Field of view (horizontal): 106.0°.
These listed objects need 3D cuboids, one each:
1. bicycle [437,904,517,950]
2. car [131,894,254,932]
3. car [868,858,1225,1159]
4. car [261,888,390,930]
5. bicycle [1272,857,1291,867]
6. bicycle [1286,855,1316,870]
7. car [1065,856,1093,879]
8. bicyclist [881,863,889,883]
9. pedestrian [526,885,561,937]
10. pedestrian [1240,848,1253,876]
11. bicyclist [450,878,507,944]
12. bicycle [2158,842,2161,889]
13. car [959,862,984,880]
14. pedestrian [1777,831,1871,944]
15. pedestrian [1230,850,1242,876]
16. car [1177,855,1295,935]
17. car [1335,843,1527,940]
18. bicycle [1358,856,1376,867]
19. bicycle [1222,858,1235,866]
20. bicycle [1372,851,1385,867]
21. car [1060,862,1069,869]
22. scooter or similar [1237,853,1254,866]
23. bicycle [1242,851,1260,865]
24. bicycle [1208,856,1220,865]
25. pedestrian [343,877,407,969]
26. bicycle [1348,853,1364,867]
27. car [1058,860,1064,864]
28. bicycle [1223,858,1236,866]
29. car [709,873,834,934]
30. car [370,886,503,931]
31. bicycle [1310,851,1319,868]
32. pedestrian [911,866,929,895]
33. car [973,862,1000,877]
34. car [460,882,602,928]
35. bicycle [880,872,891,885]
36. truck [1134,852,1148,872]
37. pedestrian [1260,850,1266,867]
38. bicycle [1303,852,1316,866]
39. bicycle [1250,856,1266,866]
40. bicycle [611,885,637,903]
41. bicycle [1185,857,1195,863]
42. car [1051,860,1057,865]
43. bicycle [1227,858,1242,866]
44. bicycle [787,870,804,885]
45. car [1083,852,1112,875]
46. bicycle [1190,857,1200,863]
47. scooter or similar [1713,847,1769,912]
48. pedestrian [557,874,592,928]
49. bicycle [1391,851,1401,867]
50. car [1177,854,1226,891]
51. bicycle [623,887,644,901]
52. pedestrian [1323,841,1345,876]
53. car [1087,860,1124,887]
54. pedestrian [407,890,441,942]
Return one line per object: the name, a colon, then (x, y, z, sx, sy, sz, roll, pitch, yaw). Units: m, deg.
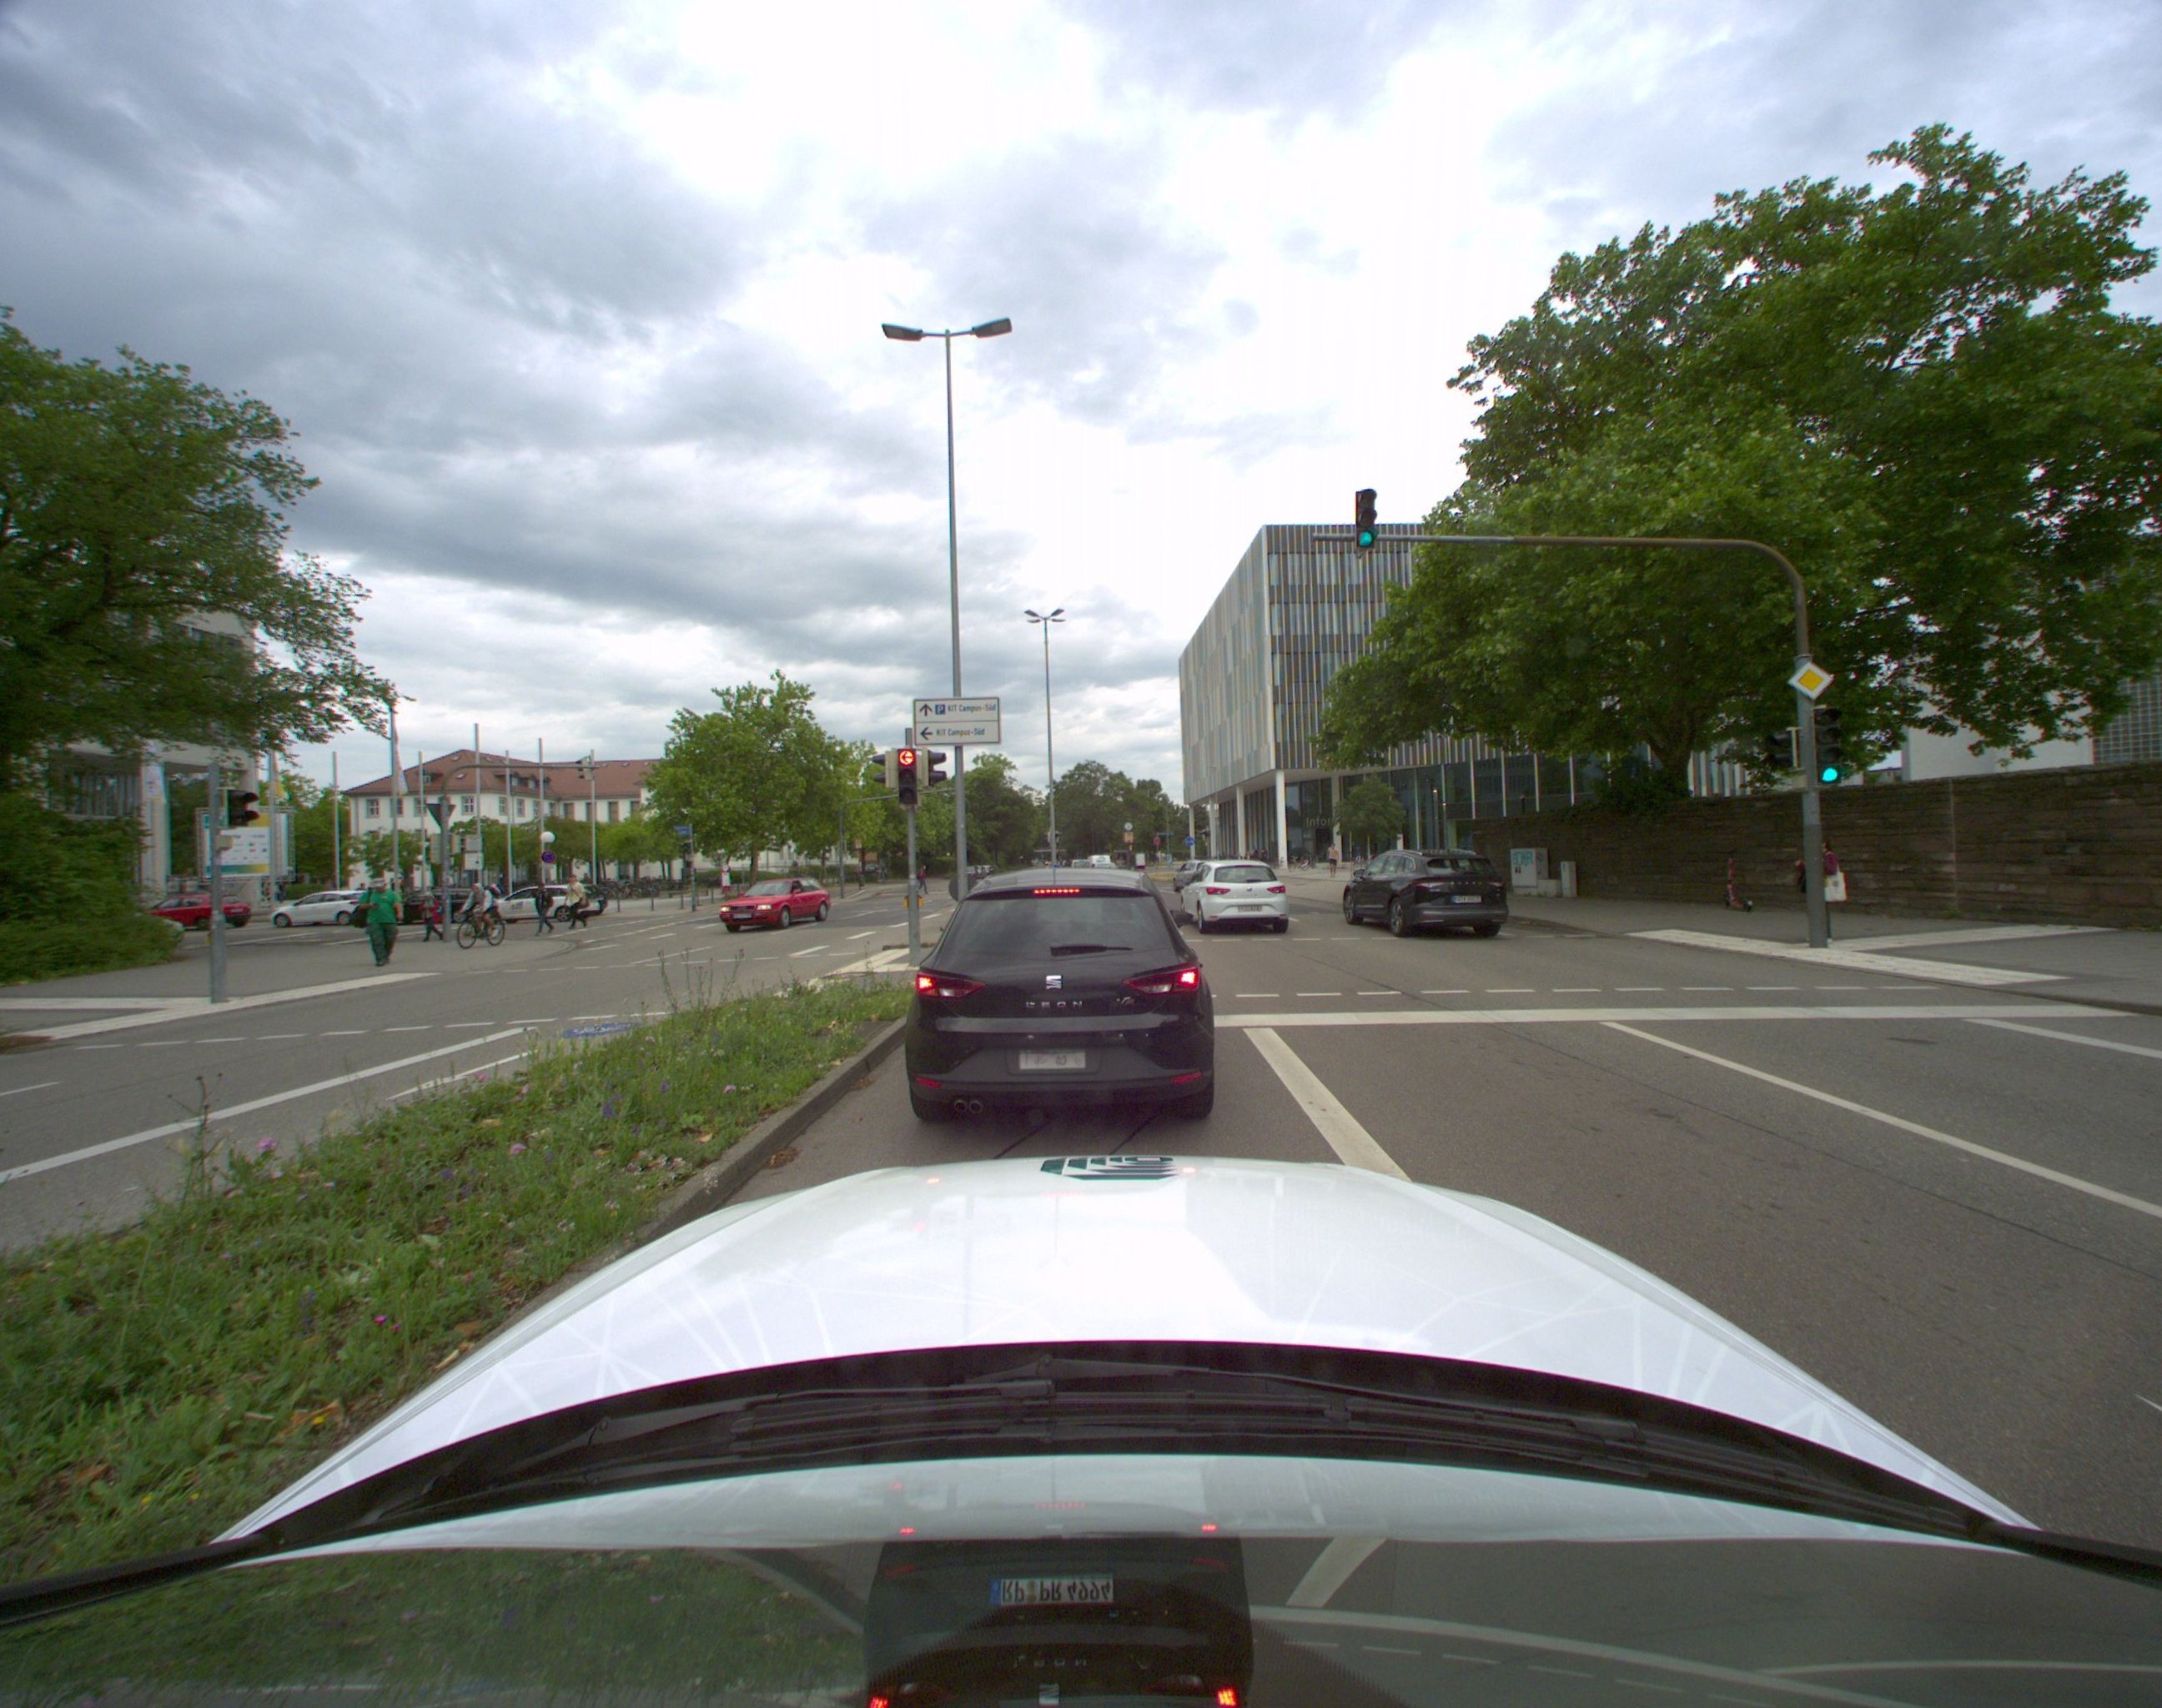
bicycle: (-15.422, 1.850, 20.845, 0.662, 1.062, 1.624, -1, -1, 10)
car: (-38.138, 2.526, 35.025, 3.341, 1.479, 1.559, -1, 0, -5)
car: (-0.042, 0.771, 5.888, 1.745, 1.432, 3.773, -1, 0, 4)
car: (-32.938, 2.379, 35.574, 3.868, 1.539, 1.684, -2, 2, -2)
bicycle: (17.068, 0.716, 69.433, 1.475, 0.748, 0.566, -4, 0, -2)
bicycle: (15.100, 0.611, 55.990, 1.892, 0.898, 0.693, -4, 0, -20)
car: (-0.198, 1.010, 60.776, 1.727, 1.603, 4.097, -1, 0, -6)
bicyclist: (-16.294, 1.545, 67.716, 0.489, 1.624, 0.588, 0, 1, 1)
pedestrian: (-16.771, 1.768, 25.417, 0.796, 1.558, 0.691, 1, -5, -42)
pedestrian: (10.723, 0.499, 52.885, 0.684, 1.781, 0.677, -2, 0, 1)
bicyclist: (-15.423, 1.442, 20.878, 0.662, 1.635, 0.964, -1, -1, 10)
bicycle: (13.544, 0.408, 8.918, 0.801, 1.174, 1.952, -5, 0, -3)
car: (-11.677, 1.821, 86.732, 1.899, 1.717, 4.002, -3, 0, 2)
pedestrian: (10.967, 0.478, 12.038, 0.657, 1.561, 0.636, -6, 0, 1)
pedestrian: (10.026, 0.587, 52.643, 0.684, 1.640, 0.633, -1, 0, 1)
car: (3.150, 0.781, 17.270, 1.775, 1.463, 3.871, -1, 0, 1)
car: (6.653, 0.647, 16.089, 1.901, 1.624, 4.491, -1, 0, 1)
bicycle: (21.182, 0.531, 60.298, 1.535, 0.716, 0.513, -4, 0, -42)
bicycle: (15.701, 0.836, 86.683, 1.232, 0.705, 0.490, -3, 0, 10)
bicycle: (21.653, 0.375, 59.244, 0.802, 1.056, 1.959, -3, 0, 21)
car: (-3.469, 2.470, 172.530, 1.894, 1.354, 3.880, -3, 0, -2)
scooter or similar: (15.786, 0.539, 78.105, 1.682, 1.106, 0.494, -4, 0, -30)
bicycle: (16.171, 0.401, 77.518, 1.785, 1.211, 0.564, -4, 0, -32)
bicycle: (14.965, 0.739, 91.675, 1.379, 0.942, 0.489, -3, 0, 8)
pedestrian: (-14.236, 1.355, 16.431, 0.948, 1.759, 0.865, 0, -2, -42)
bicycle: (20.604, 0.459, 60.982, 0.688, 0.946, 1.997, -3, 0, 32)
car: (-6.159, 2.394, 249.996, 1.501, 1.193, 3.161, -3, 0, -2)
bicycle: (15.624, 0.848, 85.792, 1.366, 0.705, 0.490, -3, 0, 10)
car: (-8.944, 1.381, 23.955, 1.706, 1.418, 4.299, -3, 0, 4)
car: (-27.547, 2.301, 34.954, 4.059, 1.452, 1.615, -3, 5, -16)
bicycle: (18.398, 0.397, 64.115, 0.522, 1.253, 1.674, -3, 0, 20)
pedestrian: (-9.136, 1.503, 46.313, 0.873, 1.586, 0.542, -3, 0, -5)
car: (-11.232, 1.826, 96.601, 1.746, 1.587, 4.016, -3, 0, 15)
car: (-21.598, 1.988, 32.121, 4.212, 1.431, 1.705, -4, 0, -9)
bicycle: (-16.290, 2.064, 67.800, 0.486, 1.005, 1.590, -1, 1, 2)
truck: (7.150, 0.904, 96.937, 1.313, 2.243, 3.403, -3, 0, 2)
pedestrian: (15.310, 0.355, 68.520, 0.469, 1.361, 0.447, -3, 0, 12)
bicycle: (18.786, 0.430, 66.901, 0.614, 1.045, 1.716, -3, 0, 28)
bicycle: (16.460, 0.636, 75.801, 1.445, 0.857, 0.362, -4, 0, -25)
bicycle: (-31.089, 2.715, 55.431, 1.405, 1.052, 0.585, -4, 0, -19)
bicycle: (14.541, 0.791, 108.813, 1.262, 0.848, 0.479, 1, -2, -21)
car: (-8.208, 2.504, 246.410, 1.692, 1.503, 4.003, -3, 0, -5)
bicycle: (15.829, 0.812, 83.989, 1.368, 0.705, 0.416, -3, 0, 4)
bicycle: (-21.088, 1.726, 60.159, 0.606, 1.060, 2.041, -3, 0, -4)
car: (1.462, 0.810, 72.787, 1.965, 1.972, 4.332, 0, 0, -7)
bicycle: (14.947, 0.749, 106.696, 1.239, 0.823, 0.479, 0, -1, -21)
scooter or similar: (13.080, 0.473, 16.177, 0.428, 1.179, 1.714, -4, 0, 26)
pedestrian: (-16.979, 1.575, 27.339, 0.843, 1.740, 0.824, -2, -5, -22)
bicycle: (22.529, 0.316, 58.297, 0.616, 1.056, 1.959, -3, 0, 21)
car: (5.359, 0.851, 36.714, 1.817, 1.551, 4.531, 0, -1, 4)
bicycle: (-30.901, 2.766, 56.195, 1.211, 0.880, 0.262, -4, 0, -22)
pedestrian: (13.364, 0.240, 43.083, 0.844, 1.765, 0.768, -3, 0, 1)
car: (1.370, 1.082, 46.856, 1.719, 1.414, 4.239, -1, 0, -4)
pedestrian: (-20.041, 1.884, 24.864, 0.572, 1.527, 0.842, -2, -5, -22)
